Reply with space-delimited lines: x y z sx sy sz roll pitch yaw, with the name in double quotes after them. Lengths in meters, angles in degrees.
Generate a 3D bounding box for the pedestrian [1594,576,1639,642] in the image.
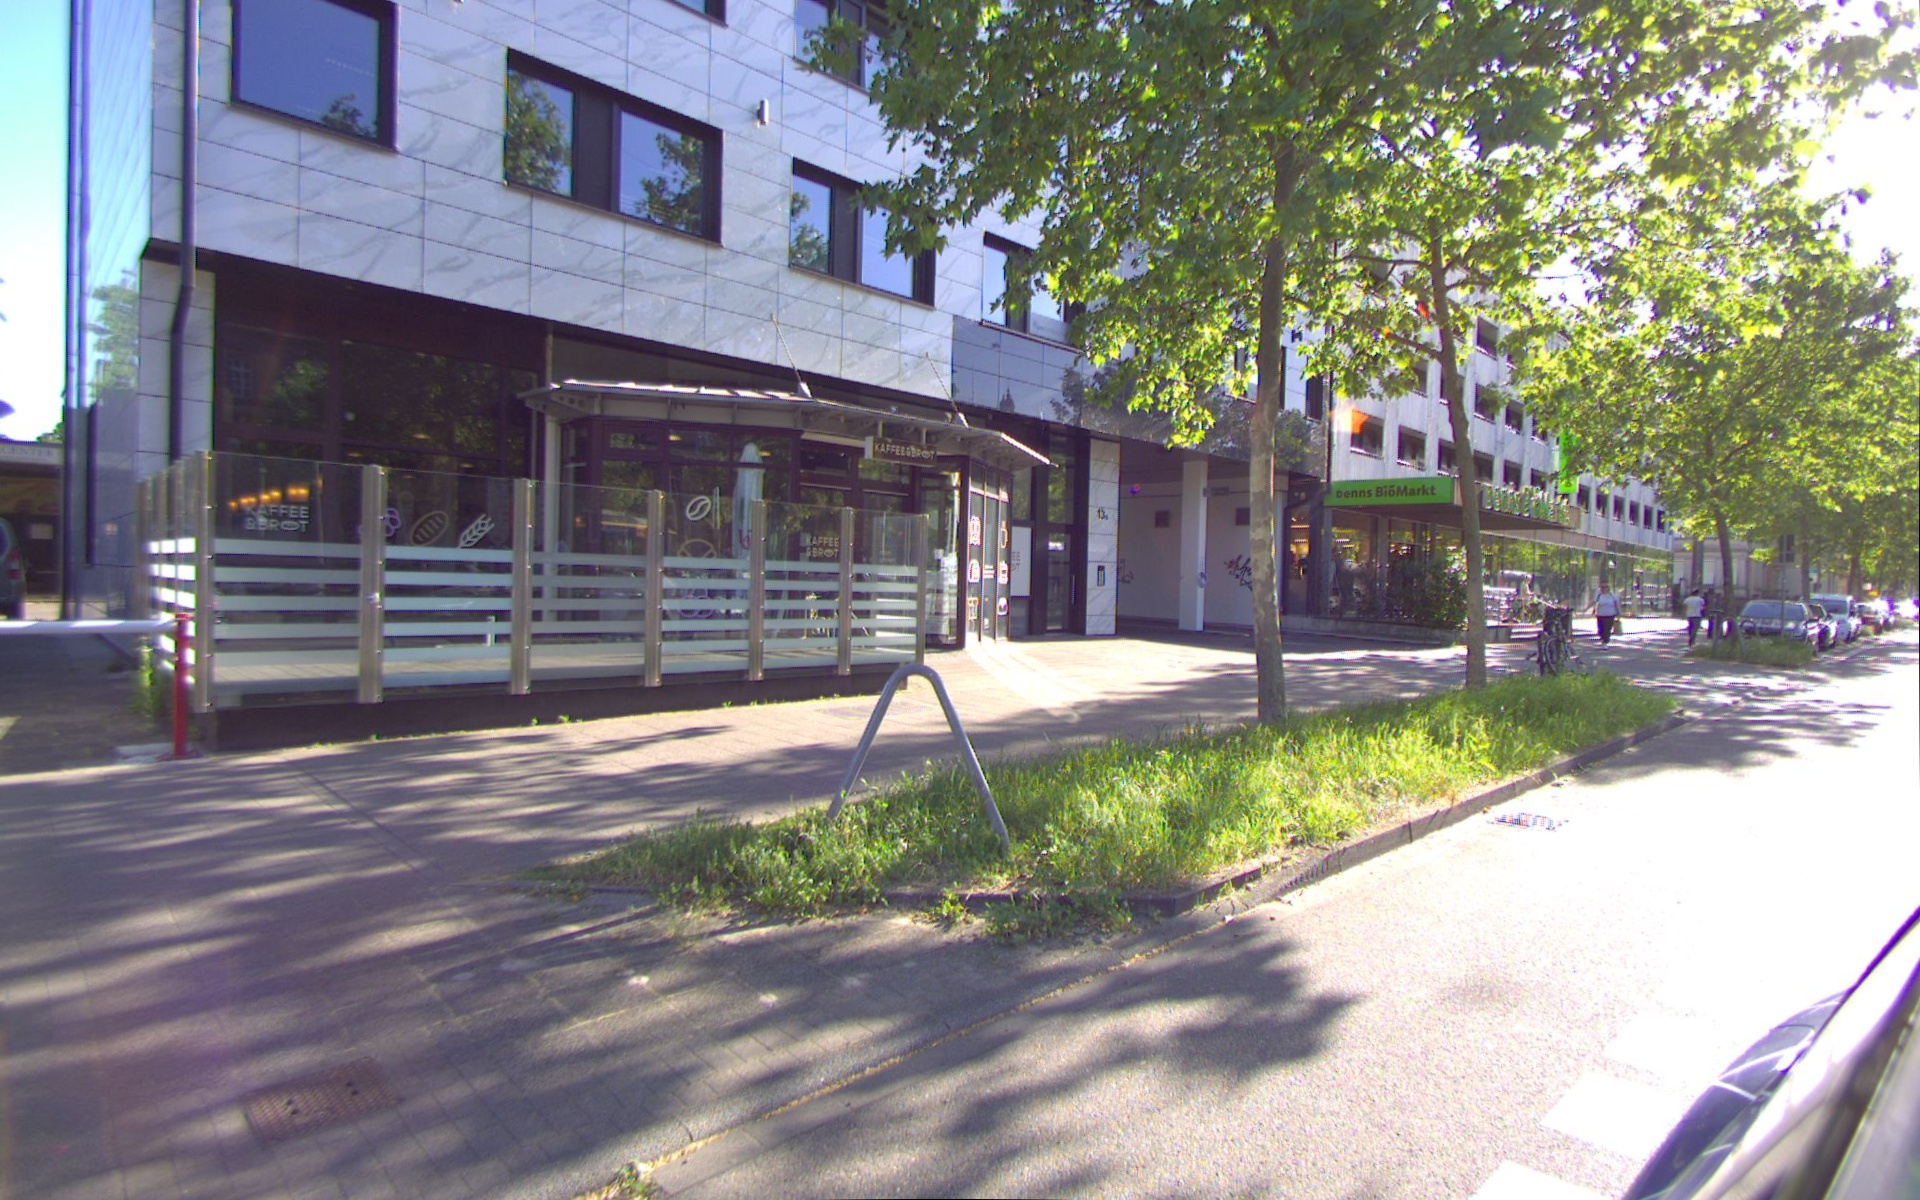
17.037 0.226 26.270 0.853 1.632 0.699 0 3 -42 "pedestrian"

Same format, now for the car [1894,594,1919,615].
73.341 0.328 77.961 4.204 1.584 1.835 0 1 -45 "car"

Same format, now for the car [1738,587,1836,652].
21.952 0.473 26.818 3.934 1.569 1.566 0 1 -44 "car"

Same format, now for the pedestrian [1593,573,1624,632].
19.955 0.061 31.134 0.864 1.766 0.560 0 2 -45 "pedestrian"

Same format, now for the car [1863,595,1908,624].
51.730 0.495 56.559 3.866 1.459 1.627 0 3 -45 "car"

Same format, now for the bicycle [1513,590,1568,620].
20.227 0.166 35.295 0.573 0.927 1.656 5 2 -17 "bicycle"

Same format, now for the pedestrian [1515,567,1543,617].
20.659 -0.313 36.766 0.607 1.735 0.609 8 4 21 "pedestrian"

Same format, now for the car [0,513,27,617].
-17.171 -0.635 17.445 1.568 1.692 3.614 0 2 -43 "car"

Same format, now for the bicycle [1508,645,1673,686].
8.502 0.859 13.659 1.366 0.357 1.610 0 2 -44 "bicycle"

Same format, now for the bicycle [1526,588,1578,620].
22.629 0.137 38.733 0.573 1.068 1.710 3 2 -17 "bicycle"

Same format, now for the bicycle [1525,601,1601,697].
8.175 0.617 13.685 0.785 1.147 1.824 2 2 33 "bicycle"

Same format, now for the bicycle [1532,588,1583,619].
23.259 0.132 39.448 0.573 1.068 1.710 2 3 -17 "bicycle"

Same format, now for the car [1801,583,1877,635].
33.548 0.320 38.576 4.320 1.814 1.766 0 2 -44 "car"

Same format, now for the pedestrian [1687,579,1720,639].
21.721 0.251 29.570 1.035 1.725 0.560 0 2 -45 "pedestrian"

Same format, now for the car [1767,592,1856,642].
26.832 0.495 31.839 1.762 1.436 4.624 1 1 45 "car"

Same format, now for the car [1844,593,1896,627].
44.464 0.464 49.414 1.674 1.455 3.631 5 5 44 "car"

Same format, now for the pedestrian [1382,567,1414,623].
13.833 -0.161 31.948 0.868 1.698 0.558 0 4 -45 "pedestrian"
